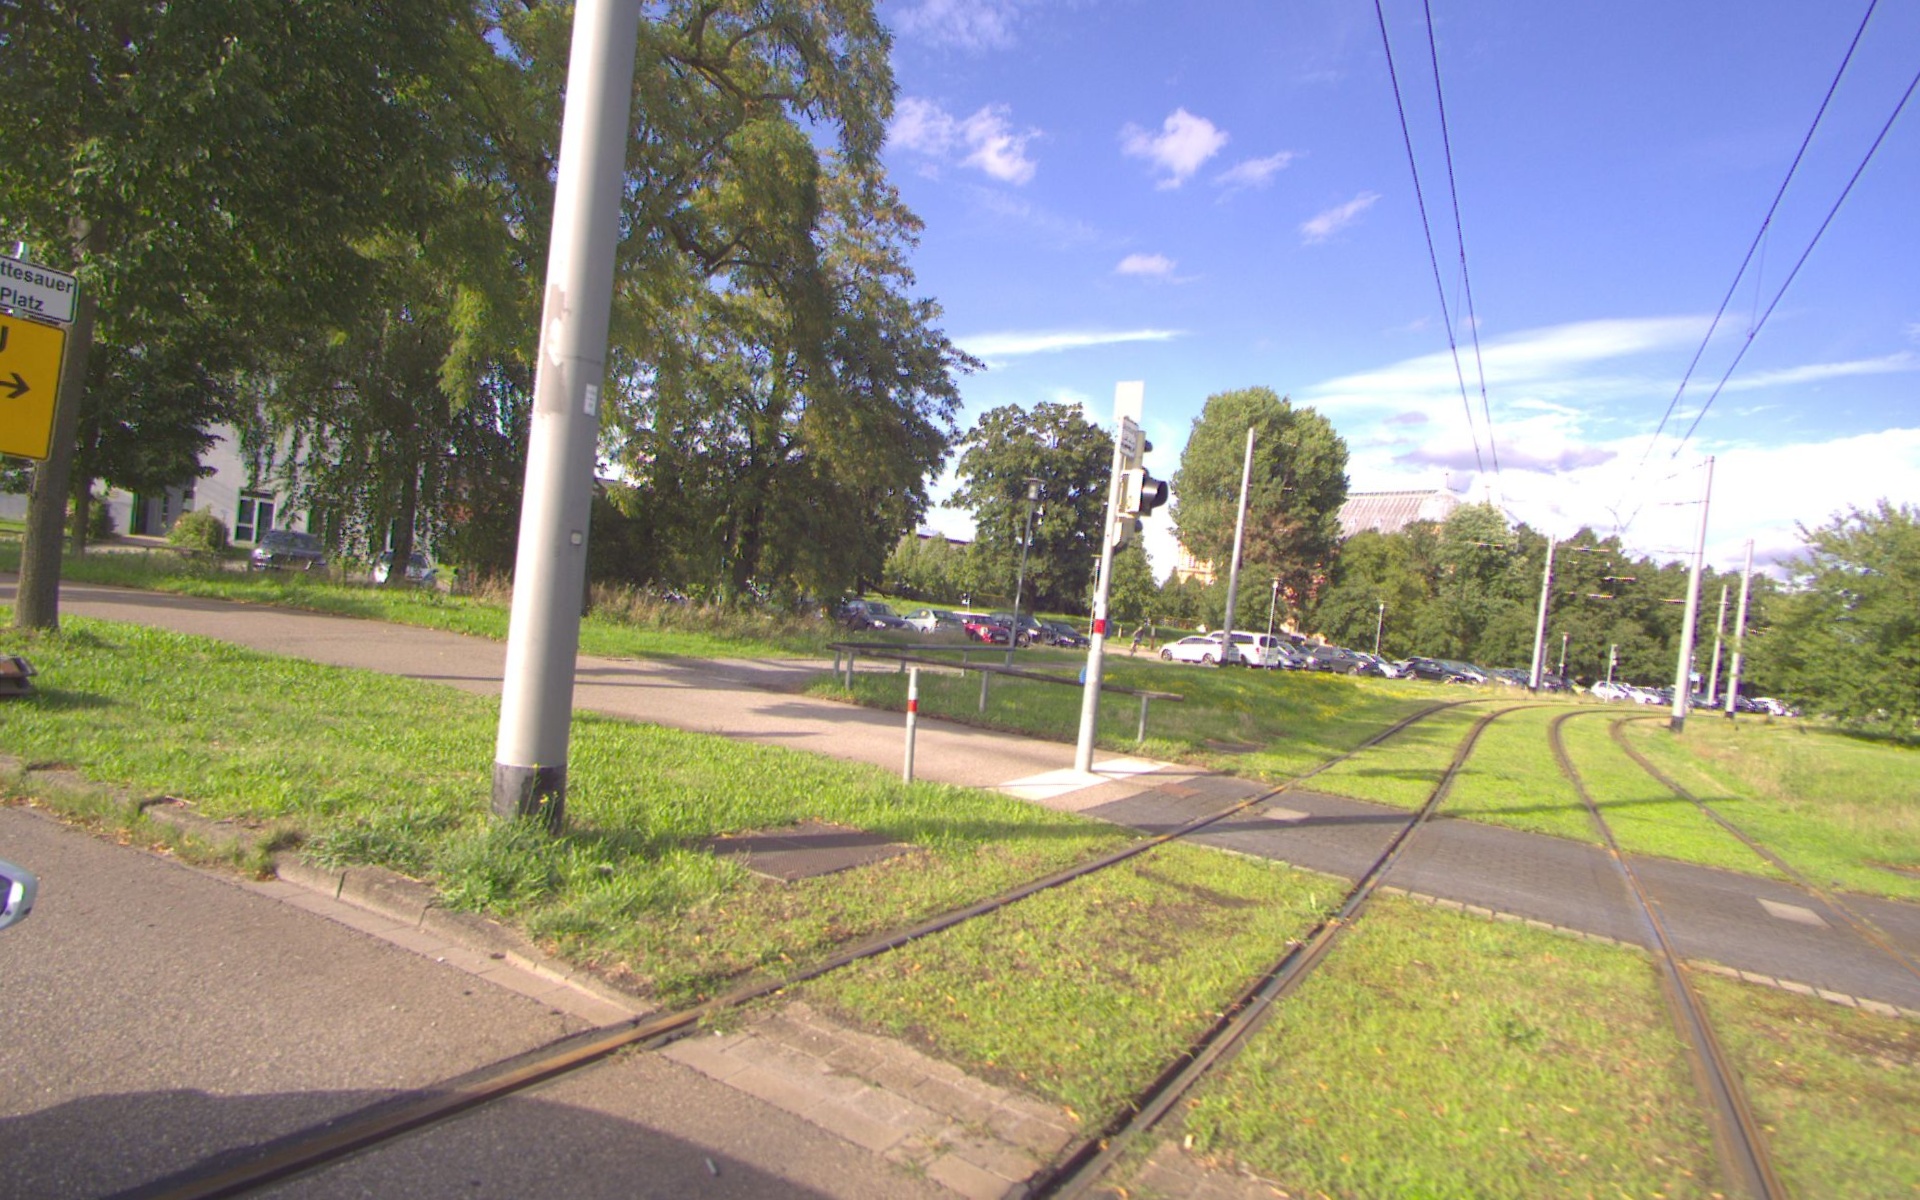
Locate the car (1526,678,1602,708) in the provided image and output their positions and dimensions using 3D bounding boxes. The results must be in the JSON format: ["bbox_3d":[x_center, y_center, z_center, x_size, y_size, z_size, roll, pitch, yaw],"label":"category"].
[{"bbox_3d":[44.797,6.890,74.752,1.838,1.560,4.436,6,0,-29],"label":"car"}]

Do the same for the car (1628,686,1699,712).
[{"bbox_3d":[58.042,8.151,83.104,1.834,1.560,4.447,6,0,-22],"label":"car"}]

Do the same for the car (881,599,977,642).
[{"bbox_3d":[-1.417,0.829,42.991,1.842,1.375,4.793,6,0,-32],"label":"car"}]

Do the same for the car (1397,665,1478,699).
[{"bbox_3d":[30.937,5.291,65.240,1.782,1.534,4.436,6,0,-29],"label":"car"}]

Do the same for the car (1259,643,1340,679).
[{"bbox_3d":[19.036,3.402,56.570,2.010,1.534,4.088,6,0,-24],"label":"car"}]

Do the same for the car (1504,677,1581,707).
[{"bbox_3d":[42.430,6.692,73.372,1.838,1.560,4.436,6,0,-29],"label":"car"}]

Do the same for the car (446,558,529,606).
[{"bbox_3d":[-15.553,-0.628,32.983,1.842,1.222,4.694,6,0,-32],"label":"car"}]

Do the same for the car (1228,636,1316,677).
[{"bbox_3d":[17.147,3.091,55.489,2.075,1.695,4.443,6,0,-24],"label":"car"}]

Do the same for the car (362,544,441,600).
[{"bbox_3d":[-17.609,-0.925,31.602,1.842,1.458,4.694,6,0,-32],"label":"car"}]

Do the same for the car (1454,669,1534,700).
[{"bbox_3d":[36.403,5.729,68.659,1.838,1.472,4.436,6,0,-29],"label":"car"}]

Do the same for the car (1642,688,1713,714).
[{"bbox_3d":[60.597,8.515,85.044,1.834,1.560,4.447,6,0,-22],"label":"car"}]

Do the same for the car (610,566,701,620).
[{"bbox_3d":[-10.928,-0.283,35.830,1.842,1.534,4.694,6,0,-32],"label":"car"}]

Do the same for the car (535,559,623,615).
[{"bbox_3d":[-13.069,-0.489,34.357,1.842,1.534,4.694,6,0,-32],"label":"car"}]

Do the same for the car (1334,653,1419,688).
[{"bbox_3d":[24.937,4.220,60.417,1.840,1.523,4.436,6,0,-29],"label":"car"}]

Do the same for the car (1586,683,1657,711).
[{"bbox_3d":[53.107,7.795,80.863,1.834,1.560,4.447,6,0,-22],"label":"car"}]

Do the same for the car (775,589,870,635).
[{"bbox_3d":[-5.502,0.437,39.678,1.842,1.376,4.694,6,0,-32],"label":"car"}]

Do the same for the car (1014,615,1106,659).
[{"bbox_3d":[4.595,1.688,46.930,1.842,1.534,4.431,6,0,-32],"label":"car"}]

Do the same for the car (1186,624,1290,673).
[{"bbox_3d":[14.739,2.558,53.644,2.290,2.032,5.075,6,0,-29],"label":"car"}]

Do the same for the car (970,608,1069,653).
[{"bbox_3d":[2.599,1.329,45.302,1.842,1.534,4.903,6,0,-32],"label":"car"}]

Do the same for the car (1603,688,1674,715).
[{"bbox_3d":[55.359,8.265,82.207,1.834,1.560,4.447,6,0,-22],"label":"car"}]

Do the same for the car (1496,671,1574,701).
[{"bbox_3d":[40.888,6.098,71.608,1.838,1.560,4.436,6,0,-29],"label":"car"}]

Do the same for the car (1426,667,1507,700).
[{"bbox_3d":[33.325,5.448,66.282,1.838,1.560,4.436,6,0,-29],"label":"car"}]

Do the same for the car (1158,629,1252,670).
[{"bbox_3d":[12.583,2.530,51.882,1.846,1.534,4.420,6,0,-40],"label":"car"}]

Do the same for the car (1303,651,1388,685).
[{"bbox_3d":[22.566,3.975,59.114,1.840,1.416,4.436,6,0,-29],"label":"car"}]

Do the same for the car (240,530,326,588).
[{"bbox_3d":[-19.945,-1.231,29.778,1.842,1.398,4.477,6,0,-32],"label":"car"}]

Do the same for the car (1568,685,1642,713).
[{"bbox_3d":[50.507,7.734,78.886,1.780,1.494,4.432,6,0,-32],"label":"car"}]

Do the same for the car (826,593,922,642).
[{"bbox_3d":[-3.575,0.673,41.091,1.842,1.534,4.708,6,0,-32],"label":"car"}]

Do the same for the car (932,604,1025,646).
[{"bbox_3d":[0.750,1.090,44.284,1.842,1.379,4.431,6,0,-32],"label":"car"}]
